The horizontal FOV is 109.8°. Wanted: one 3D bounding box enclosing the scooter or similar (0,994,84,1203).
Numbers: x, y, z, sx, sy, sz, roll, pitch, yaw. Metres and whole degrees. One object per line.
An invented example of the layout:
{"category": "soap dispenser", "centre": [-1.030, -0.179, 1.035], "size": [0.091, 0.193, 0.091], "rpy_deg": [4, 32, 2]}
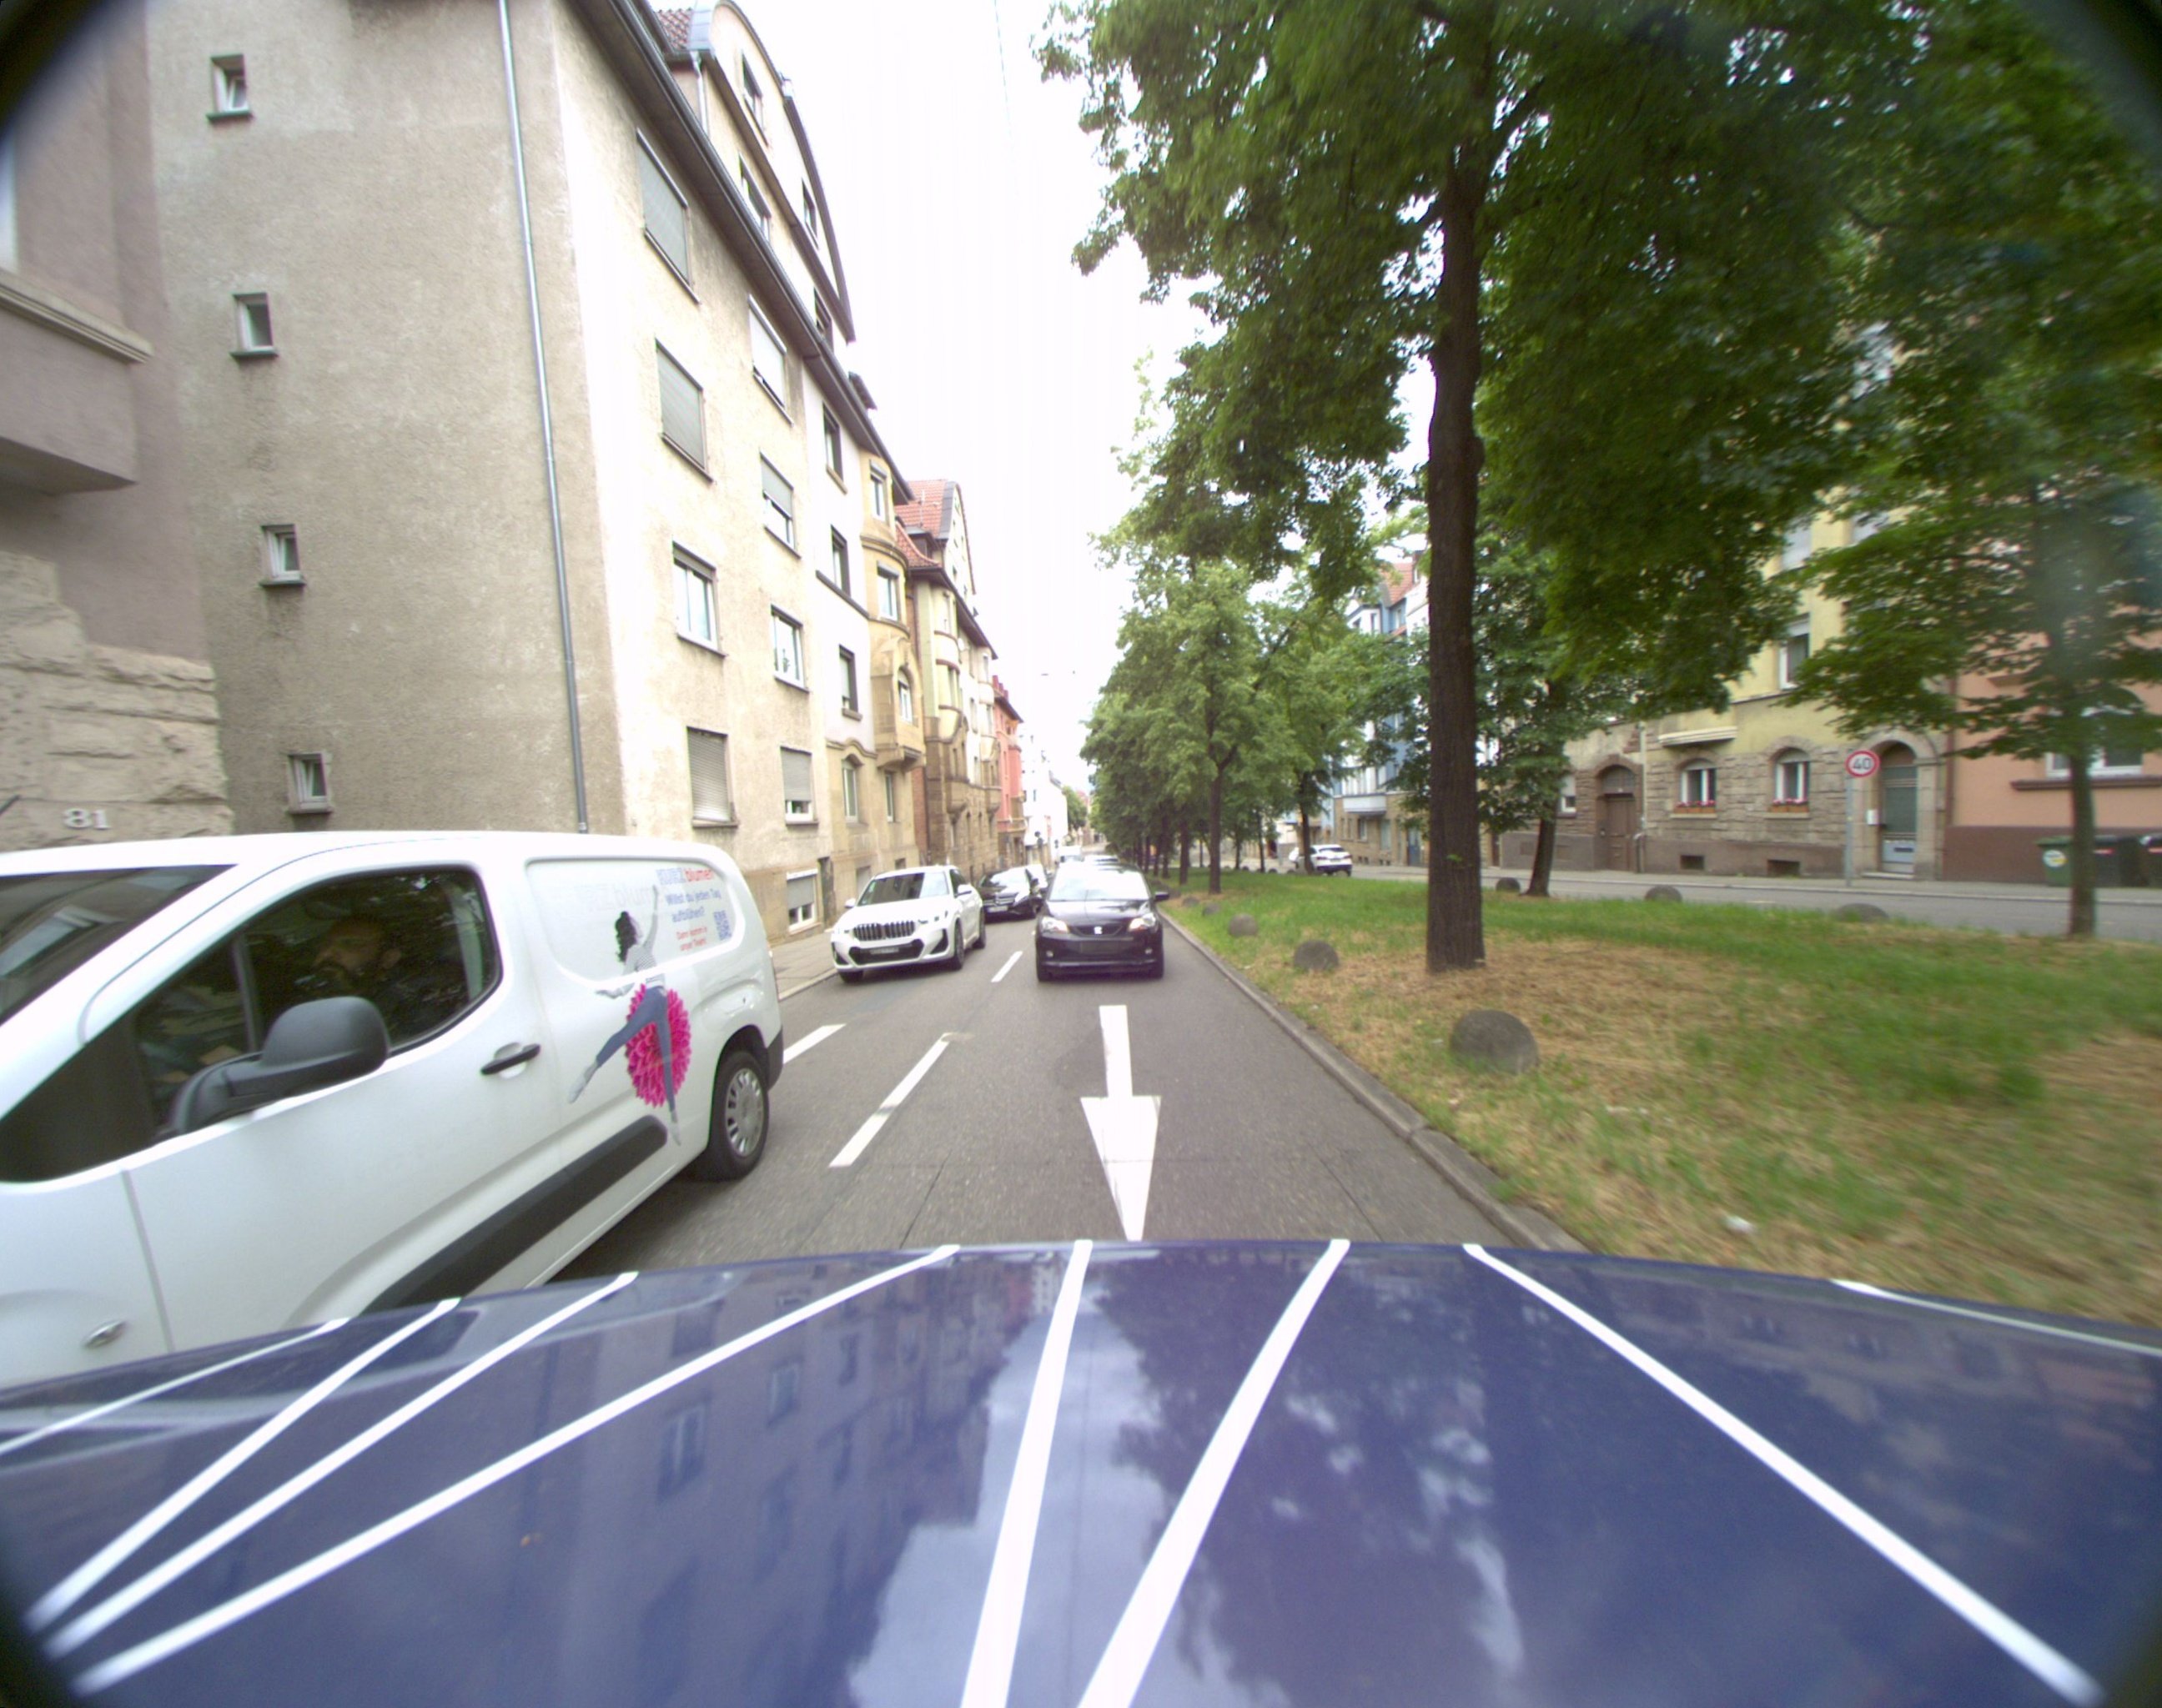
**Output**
{"category": "scooter or similar", "centre": [-6.313, 1.402, 3.859], "size": [0.528, 1.098, 1.422], "rpy_deg": [-2, 0, 3]}

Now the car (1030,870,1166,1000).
{"category": "car", "centre": [0.226, 1.006, 10.757], "size": [1.611, 1.457, 3.297], "rpy_deg": [-1, 0, 1]}

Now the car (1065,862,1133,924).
{"category": "car", "centre": [0.486, 1.026, 21.257], "size": [1.664, 1.456, 3.581], "rpy_deg": [-3, 0, 1]}

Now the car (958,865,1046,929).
{"category": "car", "centre": [-2.127, 1.135, 21.546], "size": [1.884, 1.369, 4.206], "rpy_deg": [-6, 0, 1]}

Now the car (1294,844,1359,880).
{"category": "car", "centre": [12.470, 0.434, 38.897], "size": [1.899, 1.618, 4.491], "rpy_deg": [-3, -1, 1]}

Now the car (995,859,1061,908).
{"category": "car", "centre": [-1.947, 1.064, 29.098], "size": [1.936, 1.506, 4.303], "rpy_deg": [-6, 0, 2]}

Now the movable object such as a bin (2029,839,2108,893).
{"category": "movable object such as a bin", "centre": [18.019, 0.210, 13.872], "size": [0.618, 0.943, 0.617], "rpy_deg": [-3, 1, -1]}

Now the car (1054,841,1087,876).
{"category": "car", "centre": [-0.887, 0.372, 69.335], "size": [2.716, 2.879, 6.453], "rpy_deg": [-3, 0, 1]}

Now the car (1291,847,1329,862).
{"category": "car", "centre": [22.276, 0.049, 73.944], "size": [3.291, 1.323, 1.672], "rpy_deg": [-2, 0, 10]}

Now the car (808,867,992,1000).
{"category": "car", "centre": [-2.758, 1.131, 12.685], "size": [1.859, 1.546, 4.350], "rpy_deg": [-7, 0, 0]}

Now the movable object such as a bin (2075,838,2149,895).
{"category": "movable object such as a bin", "centre": [17.978, 0.215, 13.262], "size": [0.582, 0.940, 0.532], "rpy_deg": [-3, 1, -6]}

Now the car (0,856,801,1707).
{"category": "car", "centre": [-2.750, 0.995, 2.272], "size": [1.980, 1.765, 4.676], "rpy_deg": [-6, 0, -1]}

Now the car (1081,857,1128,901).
{"category": "car", "centre": [0.870, 0.897, 29.017], "size": [1.607, 1.492, 3.737], "rpy_deg": [-3, 0, 1]}
